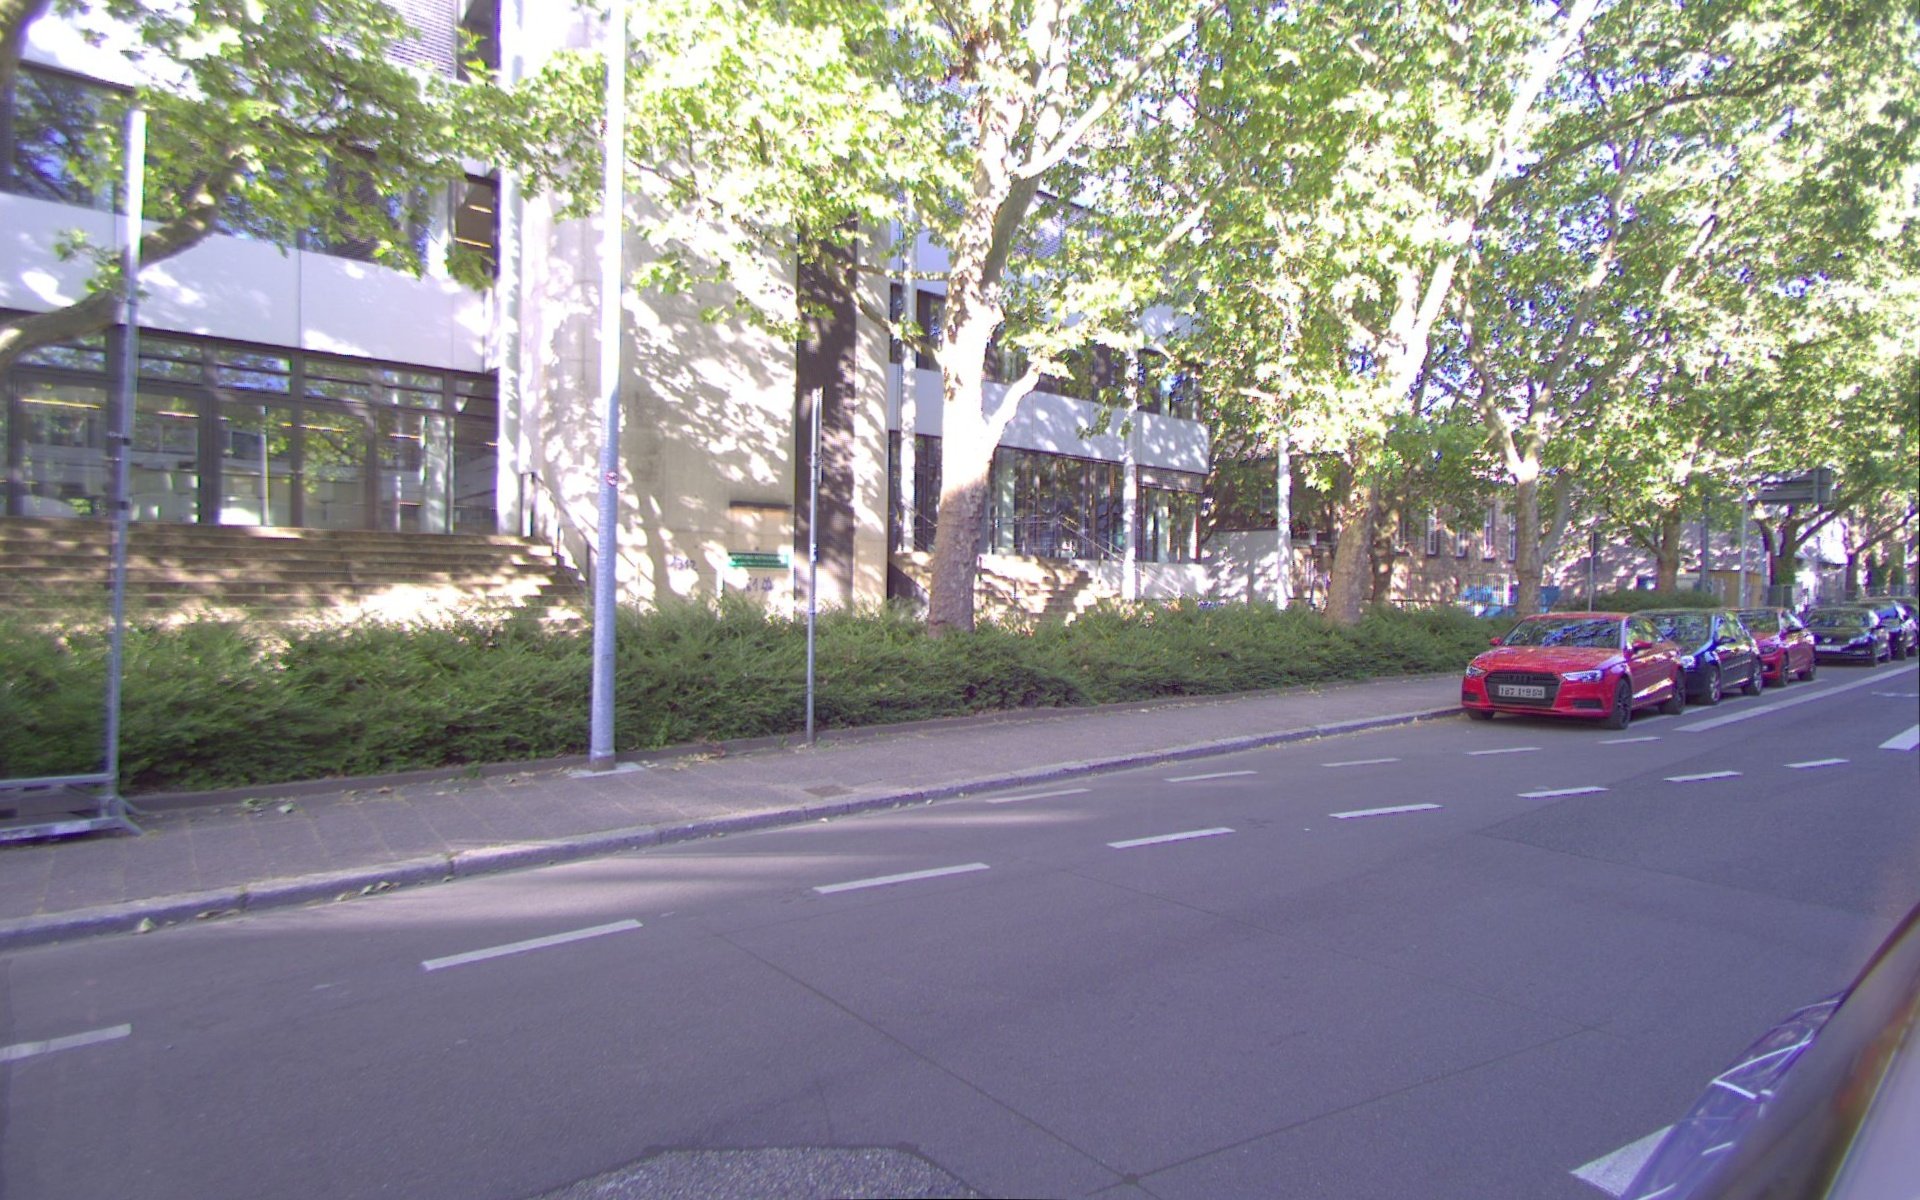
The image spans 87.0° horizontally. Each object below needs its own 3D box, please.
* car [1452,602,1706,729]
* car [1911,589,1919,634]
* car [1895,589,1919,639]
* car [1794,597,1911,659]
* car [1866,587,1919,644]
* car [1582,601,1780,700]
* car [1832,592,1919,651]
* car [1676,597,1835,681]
[{"bbox_3d":[8.364,0.751,13.544,4.092,1.431,1.815,0,-1,-42],"label":"car"},{"bbox_3d":[39.630,0.435,40.399,4.475,1.777,2.040,0,-1,-42],"label":"car"},{"bbox_3d":[35.912,0.480,37.249,4.475,1.777,1.788,0,-1,-42],"label":"car"},{"bbox_3d":[23.054,0.677,26.098,4.092,1.478,1.788,0,-1,-42],"label":"car"},{"bbox_3d":[31.060,0.485,33.013,4.271,1.777,1.788,0,-1,-42],"label":"car"},{"bbox_3d":[11.957,0.737,16.683,4.092,1.431,1.815,0,-1,-42],"label":"car"},{"bbox_3d":[26.599,0.586,29.130,4.092,1.573,1.788,0,-1,-42],"label":"car"},{"bbox_3d":[15.863,0.699,20.105,4.092,1.502,1.815,0,-1,-42],"label":"car"}]
